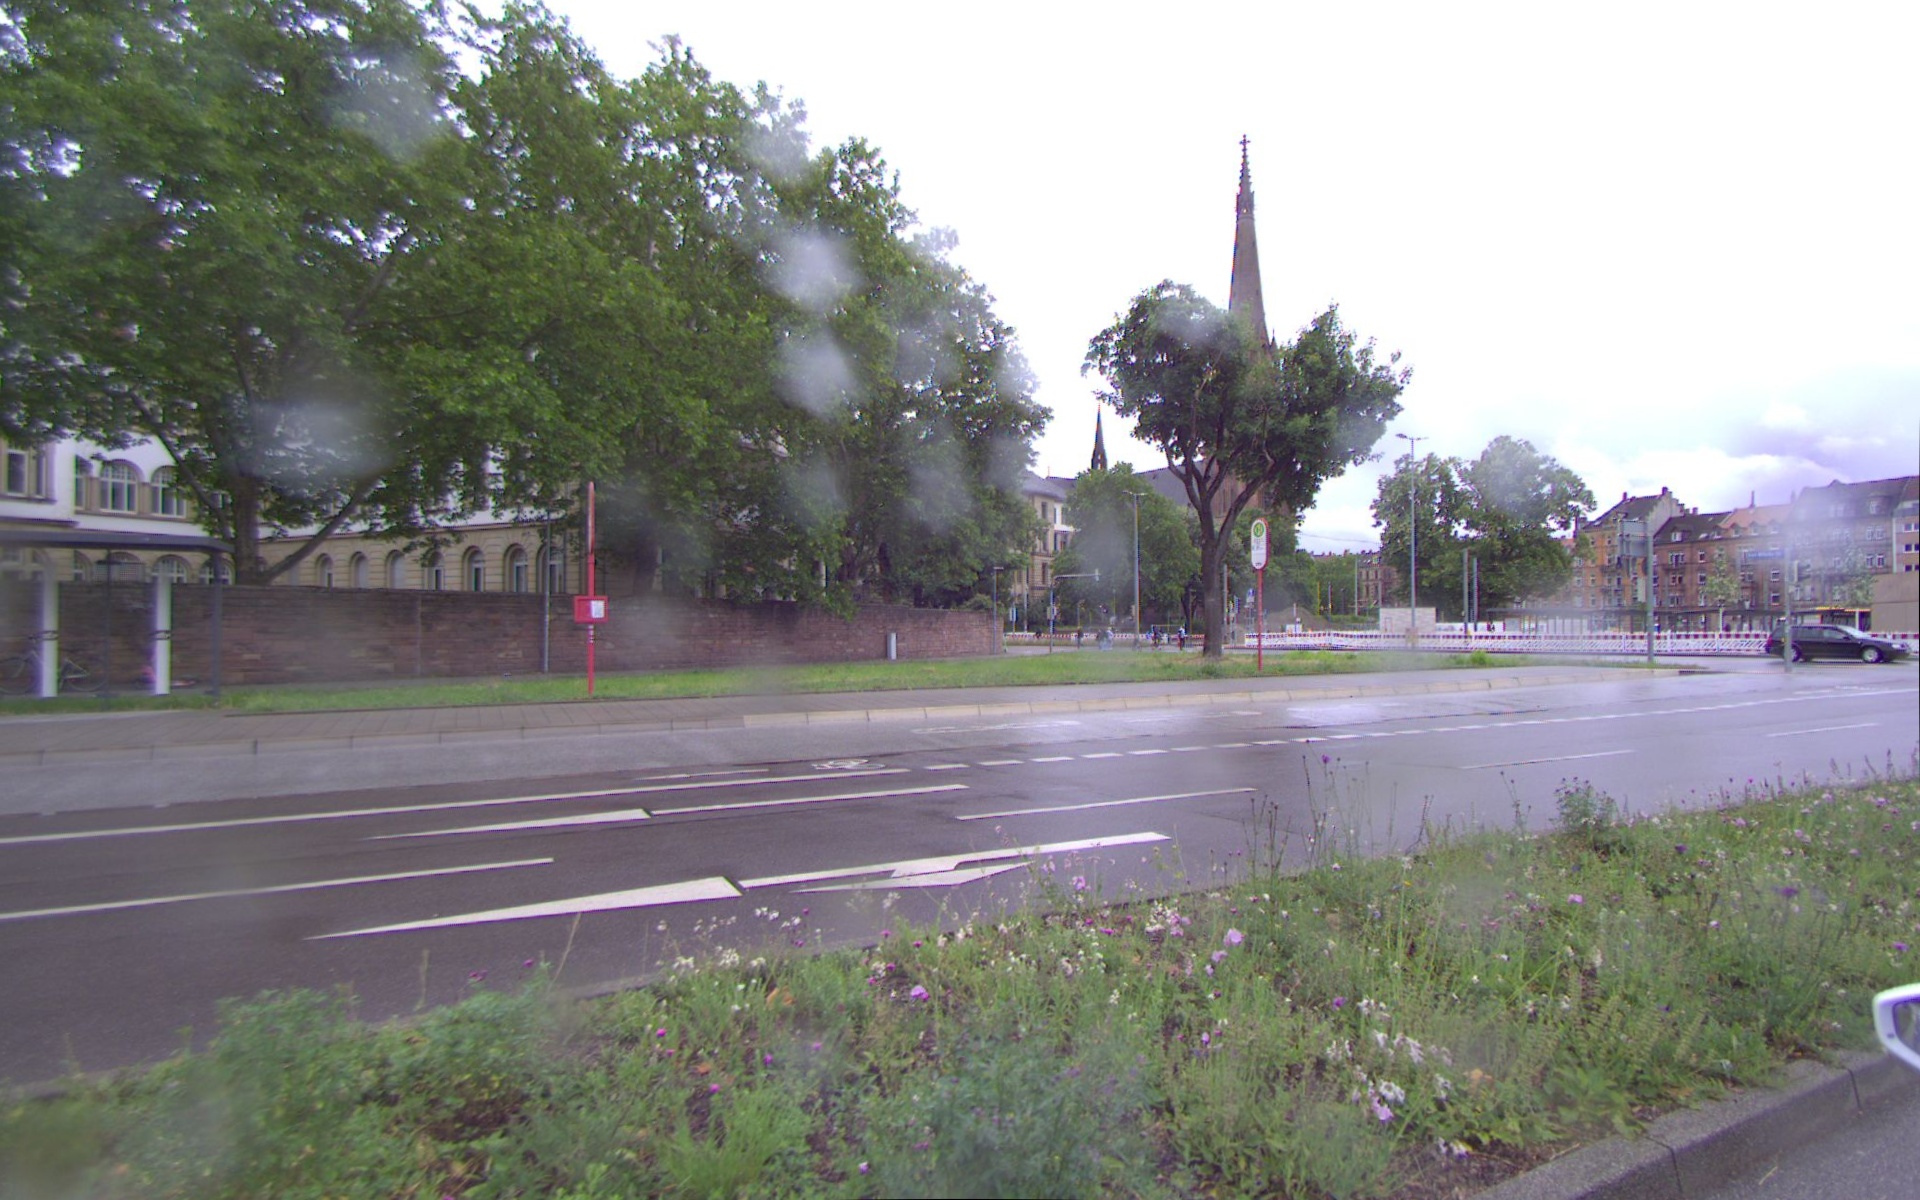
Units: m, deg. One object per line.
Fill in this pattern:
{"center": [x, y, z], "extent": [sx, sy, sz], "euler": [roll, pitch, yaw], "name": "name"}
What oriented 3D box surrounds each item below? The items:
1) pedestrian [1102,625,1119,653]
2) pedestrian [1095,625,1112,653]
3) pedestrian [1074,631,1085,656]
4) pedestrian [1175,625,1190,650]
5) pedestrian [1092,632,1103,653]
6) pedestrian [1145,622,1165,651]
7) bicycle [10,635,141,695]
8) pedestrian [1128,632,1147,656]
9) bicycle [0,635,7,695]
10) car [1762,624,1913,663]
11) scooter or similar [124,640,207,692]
{"center": [11.123, 2.901, 74.271], "extent": [0.943, 2.040, 0.854], "euler": [0, -1, -24], "name": "pedestrian"}
{"center": [10.716, 2.909, 75.156], "extent": [0.943, 2.040, 0.854], "euler": [0, -1, -24], "name": "pedestrian"}
{"center": [9.214, 3.318, 77.553], "extent": [0.595, 1.915, 0.602], "euler": [1, -1, -30], "name": "pedestrian"}
{"center": [15.681, 2.643, 70.882], "extent": [0.764, 1.801, 0.722], "euler": [0, -1, -24], "name": "pedestrian"}
{"center": [9.737, 3.004, 71.189], "extent": [0.662, 1.520, 0.774], "euler": [0, -1, 21], "name": "pedestrian"}
{"center": [14.091, 2.610, 72.537], "extent": [0.983, 2.040, 1.303], "euler": [-1, -1, 39], "name": "pedestrian"}
{"center": [-18.005, 1.298, 20.476], "extent": [1.978, 1.151, 0.567], "euler": [1, -1, -44], "name": "bicycle"}
{"center": [12.247, 3.025, 69.252], "extent": [0.919, 1.560, 1.056], "euler": [-1, -1, 39], "name": "pedestrian"}
{"center": [-19.251, 1.239, 18.839], "extent": [1.978, 1.151, 0.567], "euler": [1, -1, -44], "name": "bicycle"}
{"center": [34.188, 1.644, 39.270], "extent": [1.599, 1.421, 4.172], "euler": [1, -1, -30], "name": "car"}
{"center": [-17.007, 1.391, 21.516], "extent": [1.353, 1.060, 0.566], "euler": [1, -1, -44], "name": "scooter or similar"}
